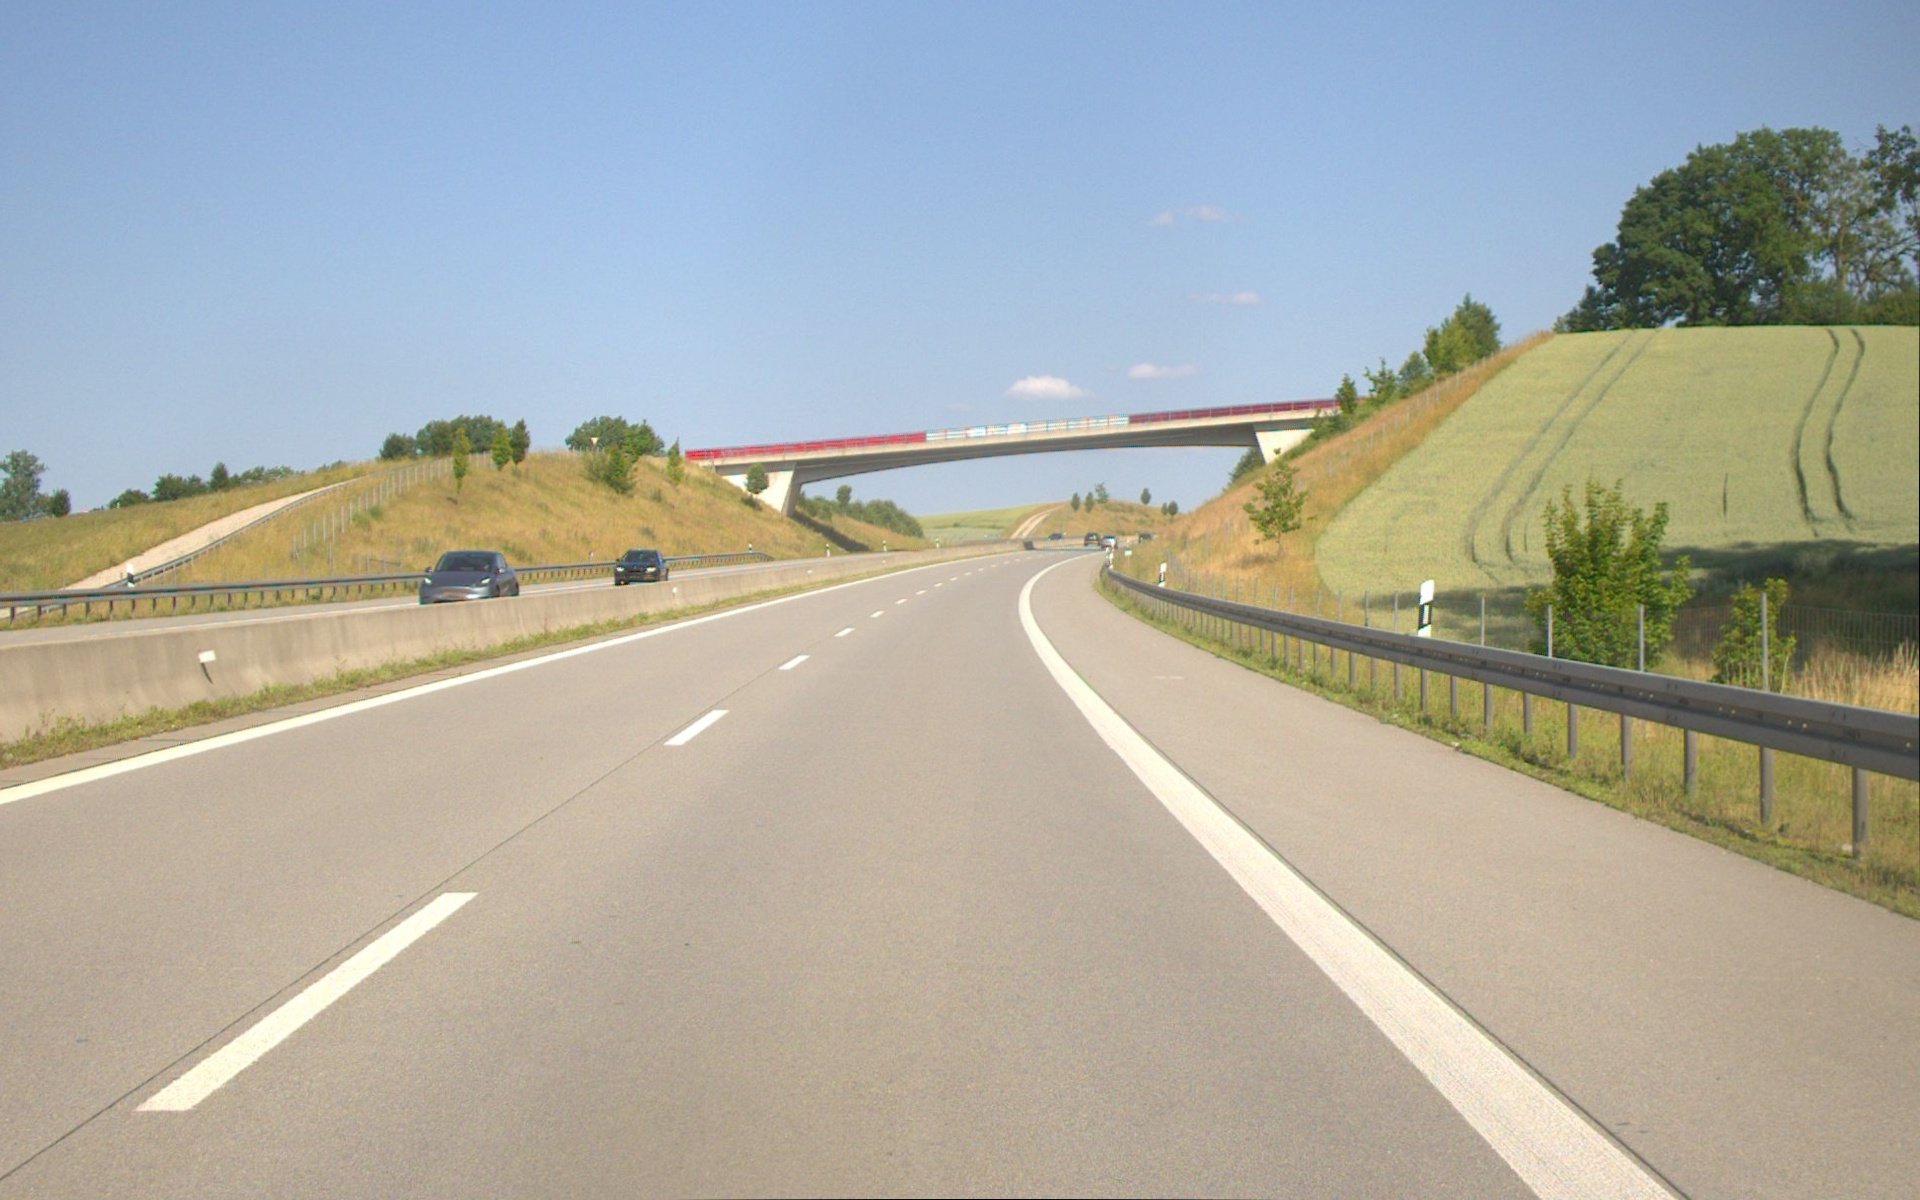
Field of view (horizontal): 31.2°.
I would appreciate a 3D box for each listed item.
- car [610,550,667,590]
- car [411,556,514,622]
[{"bbox_3d":[-13.404,-1.224,143.537,1.813,1.609,4.676,1,0,1],"label":"car"},{"bbox_3d":[-12.697,-0.285,87.980,1.813,1.609,4.676,1,0,1],"label":"car"}]
